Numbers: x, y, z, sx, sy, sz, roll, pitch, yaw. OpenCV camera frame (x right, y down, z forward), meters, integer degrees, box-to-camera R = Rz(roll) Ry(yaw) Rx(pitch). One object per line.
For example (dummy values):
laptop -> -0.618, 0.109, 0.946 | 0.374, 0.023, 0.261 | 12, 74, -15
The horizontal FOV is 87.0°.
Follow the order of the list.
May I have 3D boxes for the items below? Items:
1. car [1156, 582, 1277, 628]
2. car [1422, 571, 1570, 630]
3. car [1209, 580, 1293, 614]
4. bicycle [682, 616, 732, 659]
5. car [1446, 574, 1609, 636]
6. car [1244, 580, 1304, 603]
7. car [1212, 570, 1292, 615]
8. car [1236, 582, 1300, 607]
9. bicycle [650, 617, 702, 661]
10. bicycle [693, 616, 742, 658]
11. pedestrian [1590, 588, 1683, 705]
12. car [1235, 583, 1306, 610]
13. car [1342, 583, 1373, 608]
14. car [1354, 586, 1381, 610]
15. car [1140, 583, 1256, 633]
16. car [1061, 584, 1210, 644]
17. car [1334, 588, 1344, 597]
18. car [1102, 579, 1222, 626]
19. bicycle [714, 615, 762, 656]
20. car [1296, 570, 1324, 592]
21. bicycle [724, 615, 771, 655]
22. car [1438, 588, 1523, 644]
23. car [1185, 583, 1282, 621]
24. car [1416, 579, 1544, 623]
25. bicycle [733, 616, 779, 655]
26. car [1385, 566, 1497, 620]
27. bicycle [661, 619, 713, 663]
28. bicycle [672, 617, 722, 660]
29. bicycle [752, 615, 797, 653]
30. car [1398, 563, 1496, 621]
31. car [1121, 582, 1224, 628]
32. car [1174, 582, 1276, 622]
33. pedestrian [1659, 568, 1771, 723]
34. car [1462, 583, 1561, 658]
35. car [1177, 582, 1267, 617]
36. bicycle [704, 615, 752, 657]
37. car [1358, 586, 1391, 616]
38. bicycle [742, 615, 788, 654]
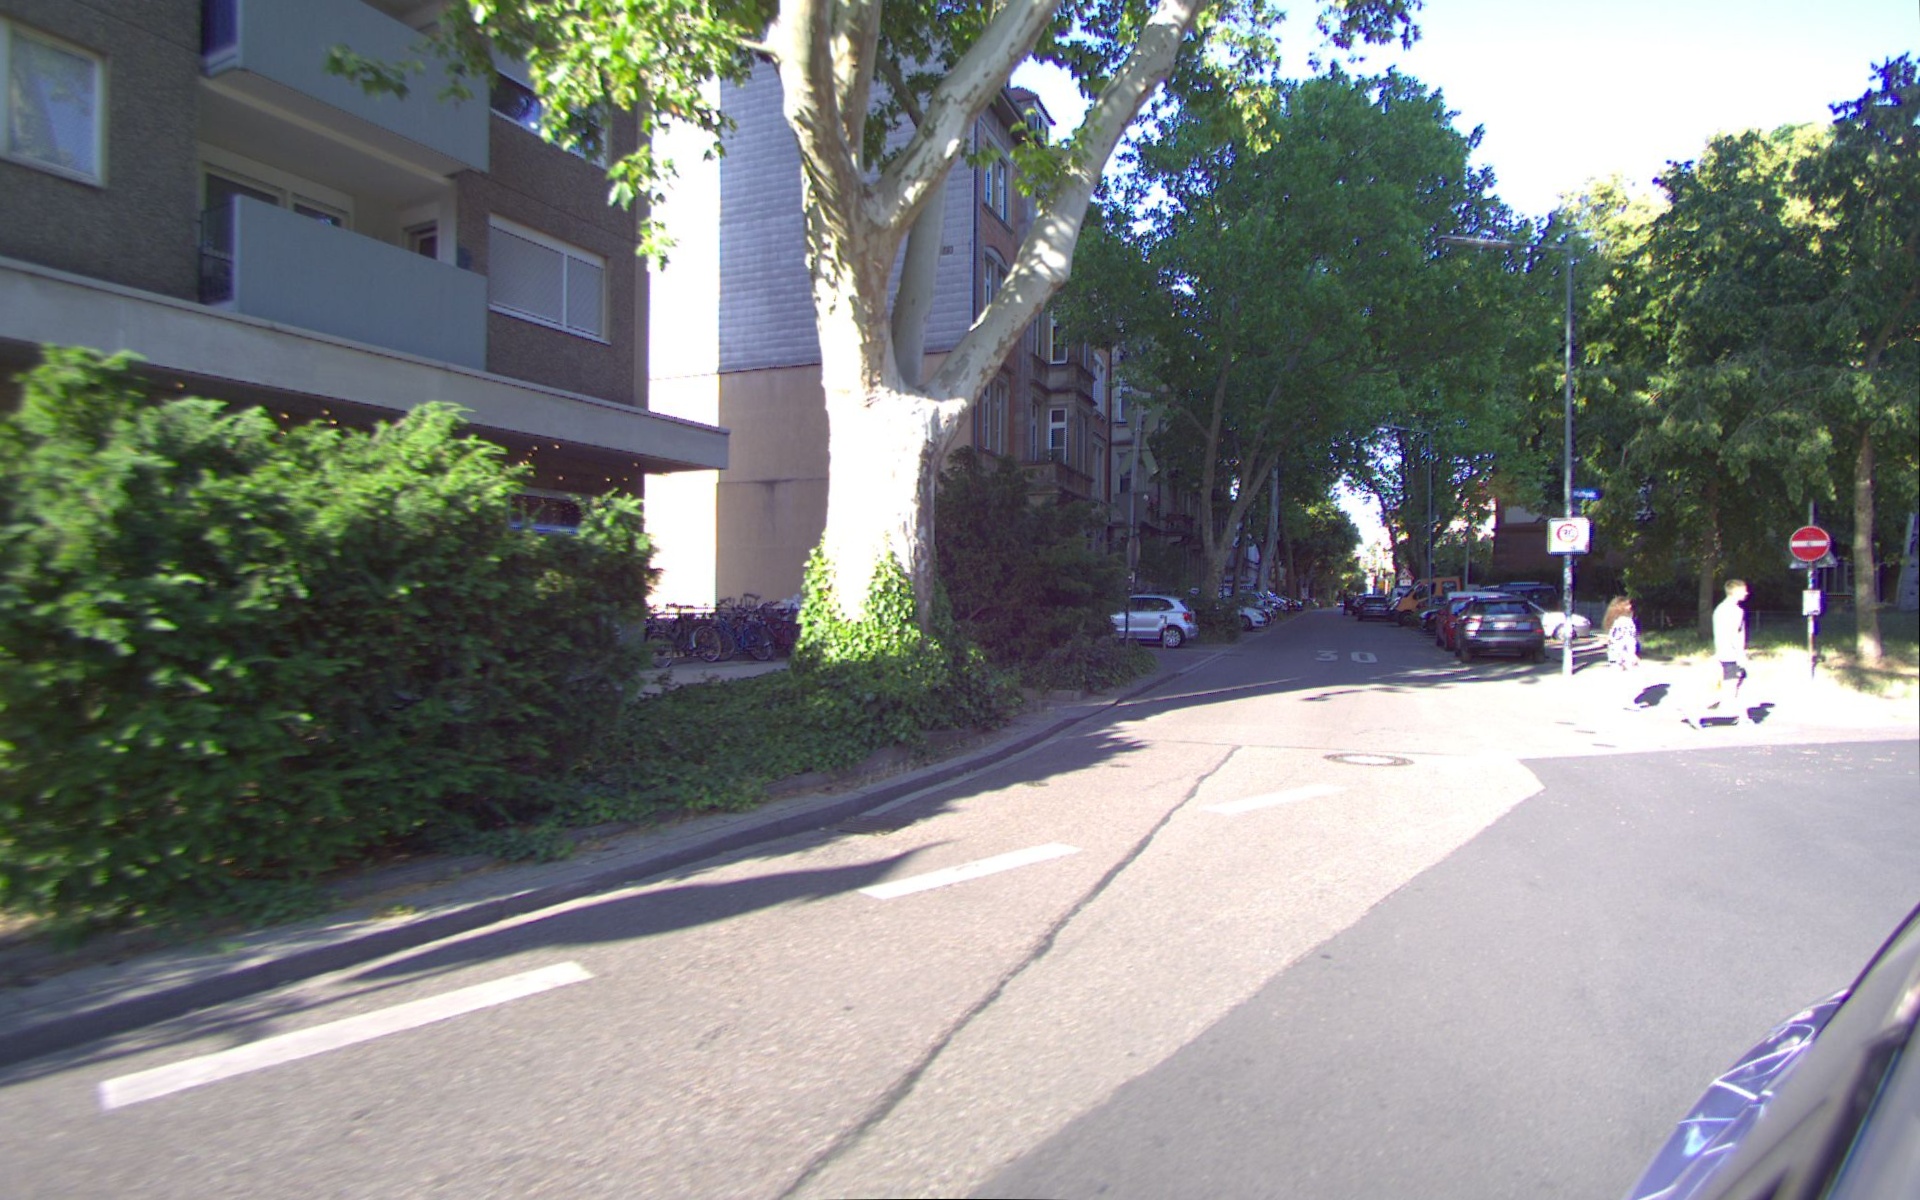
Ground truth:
car -> 10.388, 0.181, 41.042 | 4.447, 1.651, 1.716 | 2, 1, 31
car -> 18.619, 0.037, 35.404 | 4.354, 1.799, 1.771 | -3, -2, 25
car -> 16.832, -0.206, 58.637 | 4.529, 1.787, 1.725 | 2, 1, 17
bicycle -> -4.604, 0.679, 18.393 | 0.884, 0.750, 0.271 | 0, 0, 20
car -> 18.192, 0.175, 32.699 | 4.354, 1.729, 1.719 | -3, -2, 25
car -> 24.750, -0.649, 79.830 | 4.423, 1.651, 1.725 | 2, 1, 17
car -> 17.560, -0.463, 60.995 | 4.529, 2.533, 1.725 | 2, 1, 17
car -> 22.778, -0.430, 74.857 | 4.423, 1.651, 1.725 | 2, 1, 17
bicycle -> -4.932, 0.672, 17.562 | 0.884, 0.750, 0.271 | 0, 0, 20
bicycle -> -4.473, 0.675, 18.690 | 0.884, 0.750, 0.271 | 0, 0, 20
pedestrian -> 9.843, 0.662, 14.750 | 0.701, 1.628, 0.816 | 3, -1, -16
car -> 20.740, -0.268, 67.720 | 4.423, 1.651, 1.725 | 2, 1, 17
car -> 28.244, -0.317, 72.006 | 1.712, 1.653, 4.474 | 2, 1, 18
car -> 27.317, -0.151, 67.858 | 1.581, 1.486, 2.979 | 2, 2, 21
car -> 8.076, 0.243, 34.380 | 3.723, 1.638, 1.900 | 1, 0, 16
car -> 4.983, 0.367, 28.614 | 3.946, 1.491, 1.725 | 2, 1, 17
car -> 88.557, -1.677, 236.458 | 1.976, 2.039, 3.971 | 1, 0, 22
car -> 7.904, 0.078, 39.465 | 4.423, 1.651, 1.725 | 2, 1, 17
bicycle -> -4.228, 0.666, 19.279 | 0.884, 0.750, 0.271 | 0, 0, 20
car -> 32.336, -1.733, 93.522 | 1.980, 2.039, 3.964 | 1, 0, 26
bicycle -> -4.114, 0.668, 19.570 | 0.884, 0.750, 0.271 | 0, 0, 20
car -> 14.943, 0.412, 29.255 | 1.723, 1.467, 4.611 | -2, 0, 22
car -> 13.270, 0.071, 49.143 | 4.423, 1.651, 1.726 | 2, 2, 17
car -> 20.533, 0.058, 40.184 | 4.354, 1.511, 1.771 | -3, -2, 25
bicycle -> -4.003, 0.687, 19.864 | 0.884, 0.750, 0.271 | 0, 0, 20
car -> 22.453, -0.315, 47.423 | 4.582, 2.443, 1.597 | 0, 0, 20
bicycle -> -4.816, 0.708, 17.841 | 0.884, 0.750, 0.271 | 0, 0, 20
bicycle -> -4.707, 0.684, 18.113 | 0.884, 0.750, 0.271 | 0, 0, 20
bicycle -> -3.769, 0.685, 20.521 | 0.884, 0.750, 0.271 | 0, 0, 20
car -> 26.042, -0.421, 54.273 | 4.582, 3.004, 1.597 | 0, 0, 20
car -> 7.755, 0.151, 36.871 | 3.597, 1.616, 1.643 | 1, 0, 17
car -> 12.177, 0.068, 46.609 | 4.423, 1.651, 1.725 | 2, 1, 17
pedestrian -> 9.122, 0.529, 12.249 | 0.701, 1.804, 0.816 | 0, 0, -16
car -> 13.094, 0.446, 24.247 | 1.724, 1.572, 4.240 | -3, -1, 25
car -> 13.582, -0.031, 52.452 | 4.423, 1.651, 1.725 | 2, 1, 17
bicycle -> -4.351, 0.670, 18.972 | 0.884, 0.750, 0.271 | 0, 0, 20
car -> 23.088, 0.025, 56.391 | 1.588, 1.486, 3.972 | 2, 2, 21
bicycle -> -3.884, 0.681, 20.165 | 0.884, 0.750, 0.271 | 0, 0, 20
